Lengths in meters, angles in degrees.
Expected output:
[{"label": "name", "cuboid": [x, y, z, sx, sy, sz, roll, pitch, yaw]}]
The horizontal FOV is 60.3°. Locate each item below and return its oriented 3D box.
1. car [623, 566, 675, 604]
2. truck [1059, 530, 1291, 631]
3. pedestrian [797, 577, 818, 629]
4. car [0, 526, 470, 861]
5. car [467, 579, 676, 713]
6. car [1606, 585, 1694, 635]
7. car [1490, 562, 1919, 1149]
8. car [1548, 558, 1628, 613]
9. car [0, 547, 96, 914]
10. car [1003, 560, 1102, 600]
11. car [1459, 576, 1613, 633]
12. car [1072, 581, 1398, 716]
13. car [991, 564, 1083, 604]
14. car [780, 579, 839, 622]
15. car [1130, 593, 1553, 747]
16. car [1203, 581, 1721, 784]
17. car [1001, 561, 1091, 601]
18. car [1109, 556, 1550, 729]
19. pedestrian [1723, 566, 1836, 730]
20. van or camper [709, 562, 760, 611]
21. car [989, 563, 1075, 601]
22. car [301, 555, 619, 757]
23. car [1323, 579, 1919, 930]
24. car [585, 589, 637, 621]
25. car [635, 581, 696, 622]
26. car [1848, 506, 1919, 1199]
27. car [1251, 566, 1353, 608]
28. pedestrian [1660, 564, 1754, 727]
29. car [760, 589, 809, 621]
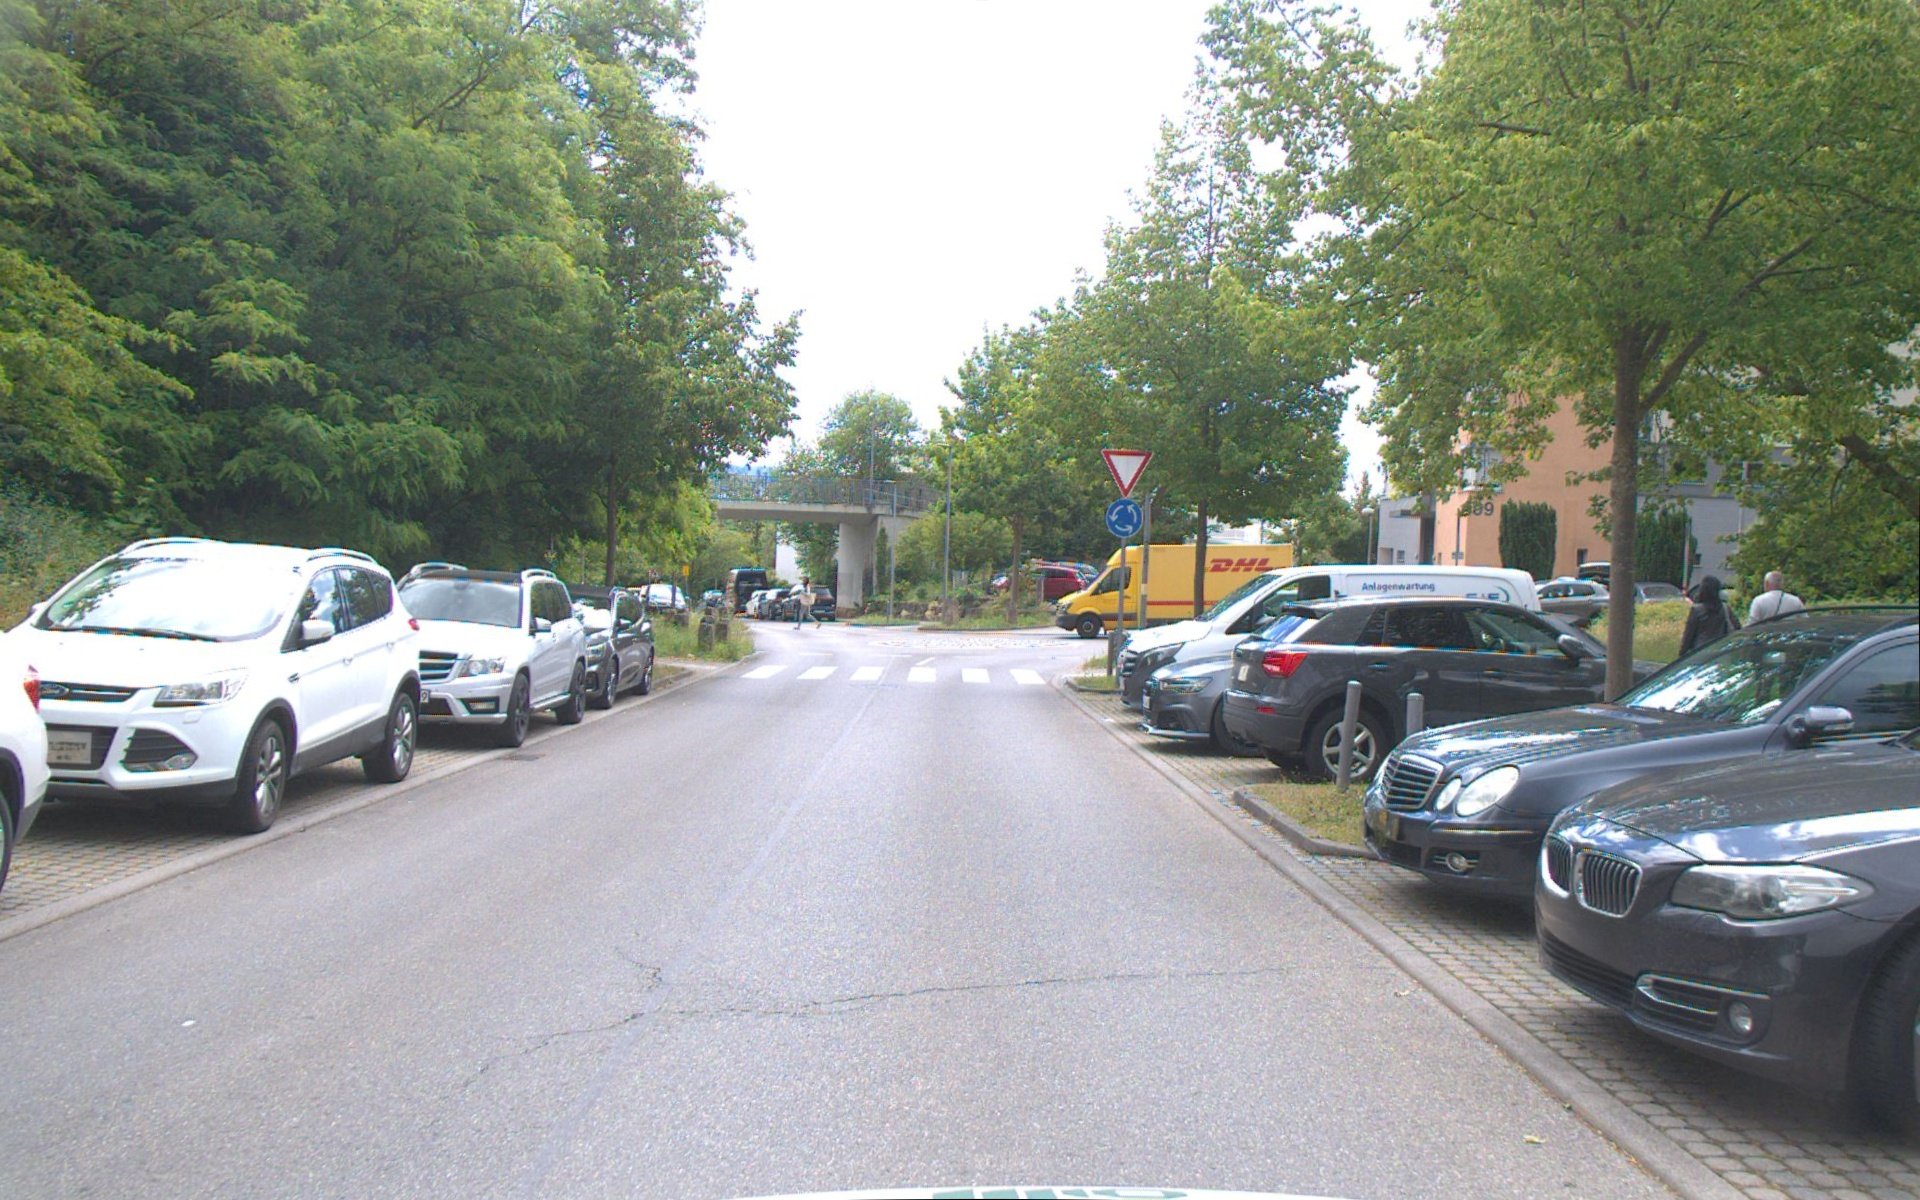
[{"label": "car", "cuboid": [-13.182, -0.653, 69.991, 1.854, 1.485, 3.531, 2, 1, -16]}, {"label": "truck", "cuboid": [6.327, -0.535, 49.358, 6.658, 2.750, 2.475, -1, -4, 4]}, {"label": "pedestrian", "cuboid": [-5.246, 0.100, 56.926, 0.644, 1.752, 0.739, 2, 1, -1]}, {"label": "car", "cuboid": [-4.894, 0.453, 11.108, 1.770, 1.693, 4.437, 4, 1, 0]}, {"label": "car", "cuboid": [-5.066, 0.524, 22.180, 1.655, 1.490, 4.456, 4, 1, 0]}, {"label": "car", "cuboid": [22.289, 0.297, 53.539, 1.602, 1.508, 3.780, 1, 1, 6]}, {"label": "car", "cuboid": [3.897, 0.734, 5.222, 3.902, 1.545, 1.885, 2, 0, 6]}, {"label": "car", "cuboid": [20.213, -0.473, 53.368, 1.535, 1.687, 3.780, -1, 1, 6]}, {"label": "car", "cuboid": [-4.849, 0.527, 5.480, 1.655, 1.537, 4.230, 4, 1, 0]}, {"label": "car", "cuboid": [4.251, -0.916, 76.242, 4.449, 1.697, 1.945, 2, 1, 3]}, {"label": "car", "cuboid": [16.863, 0.117, 48.534, 3.919, 1.646, 1.720, 0, 0, -6]}, {"label": "car", "cuboid": [3.649, 0.626, 22.414, 4.067, 1.630, 1.738, 2, 1, -2]}, {"label": "car", "cuboid": [3.091, -0.640, 66.056, 3.573, 1.464, 1.685, 2, 1, 5]}, {"label": "car", "cuboid": [-6.883, 0.059, 75.239, 1.785, 1.708, 4.346, 0, -3, -18]}, {"label": "car", "cuboid": [3.705, 0.651, 16.515, 3.749, 1.395, 1.841, -1, 0, -4]}, {"label": "car", "cuboid": [4.102, 0.635, 13.938, 3.749, 1.546, 1.910, -1, 0, -4]}, {"label": "car", "cuboid": [3.814, -0.853, 73.609, 3.904, 1.642, 1.945, 2, 1, 3]}, {"label": "car", "cuboid": [4.187, 0.458, 19.199, 4.679, 1.863, 1.842, -1, 0, -3]}, {"label": "pedestrian", "cuboid": [8.697, 0.501, 17.566, 0.851, 1.685, 0.593, 2, 1, -2]}, {"label": "van or camper", "cuboid": [-12.584, -0.723, 92.022, 1.962, 2.567, 5.444, -1, 0, -17]}, {"label": "car", "cuboid": [3.109, -0.785, 71.297, 3.573, 1.524, 1.685, 2, 1, 5]}, {"label": "car", "cuboid": [-4.879, 0.460, 16.850, 1.763, 1.643, 4.478, 4, 1, 0]}, {"label": "car", "cuboid": [4.311, 0.689, 8.337, 4.485, 1.518, 1.950, 1, 0, -5]}, {"label": "car", "cuboid": [-17.306, 0.236, 81.950, 1.857, 1.535, 4.425, 2, 0, -20]}, {"label": "car", "cuboid": [-11.742, 0.039, 65.883, 1.759, 1.493, 3.978, 2, 1, -19]}, {"label": "car", "cuboid": [3.805, 0.666, 2.814, 3.594, 1.676, 1.852, 1, -1, 2]}, {"label": "car", "cuboid": [14.341, -0.564, 69.482, 4.032, 1.621, 1.694, 2, 1, 6]}, {"label": "pedestrian", "cuboid": [7.947, 0.476, 17.617, 0.675, 1.685, 0.600, 2, 1, -2]}, {"label": "car", "cuboid": [-8.684, 0.239, 81.547, 1.673, 1.523, 4.098, 0, 0, -17]}]
